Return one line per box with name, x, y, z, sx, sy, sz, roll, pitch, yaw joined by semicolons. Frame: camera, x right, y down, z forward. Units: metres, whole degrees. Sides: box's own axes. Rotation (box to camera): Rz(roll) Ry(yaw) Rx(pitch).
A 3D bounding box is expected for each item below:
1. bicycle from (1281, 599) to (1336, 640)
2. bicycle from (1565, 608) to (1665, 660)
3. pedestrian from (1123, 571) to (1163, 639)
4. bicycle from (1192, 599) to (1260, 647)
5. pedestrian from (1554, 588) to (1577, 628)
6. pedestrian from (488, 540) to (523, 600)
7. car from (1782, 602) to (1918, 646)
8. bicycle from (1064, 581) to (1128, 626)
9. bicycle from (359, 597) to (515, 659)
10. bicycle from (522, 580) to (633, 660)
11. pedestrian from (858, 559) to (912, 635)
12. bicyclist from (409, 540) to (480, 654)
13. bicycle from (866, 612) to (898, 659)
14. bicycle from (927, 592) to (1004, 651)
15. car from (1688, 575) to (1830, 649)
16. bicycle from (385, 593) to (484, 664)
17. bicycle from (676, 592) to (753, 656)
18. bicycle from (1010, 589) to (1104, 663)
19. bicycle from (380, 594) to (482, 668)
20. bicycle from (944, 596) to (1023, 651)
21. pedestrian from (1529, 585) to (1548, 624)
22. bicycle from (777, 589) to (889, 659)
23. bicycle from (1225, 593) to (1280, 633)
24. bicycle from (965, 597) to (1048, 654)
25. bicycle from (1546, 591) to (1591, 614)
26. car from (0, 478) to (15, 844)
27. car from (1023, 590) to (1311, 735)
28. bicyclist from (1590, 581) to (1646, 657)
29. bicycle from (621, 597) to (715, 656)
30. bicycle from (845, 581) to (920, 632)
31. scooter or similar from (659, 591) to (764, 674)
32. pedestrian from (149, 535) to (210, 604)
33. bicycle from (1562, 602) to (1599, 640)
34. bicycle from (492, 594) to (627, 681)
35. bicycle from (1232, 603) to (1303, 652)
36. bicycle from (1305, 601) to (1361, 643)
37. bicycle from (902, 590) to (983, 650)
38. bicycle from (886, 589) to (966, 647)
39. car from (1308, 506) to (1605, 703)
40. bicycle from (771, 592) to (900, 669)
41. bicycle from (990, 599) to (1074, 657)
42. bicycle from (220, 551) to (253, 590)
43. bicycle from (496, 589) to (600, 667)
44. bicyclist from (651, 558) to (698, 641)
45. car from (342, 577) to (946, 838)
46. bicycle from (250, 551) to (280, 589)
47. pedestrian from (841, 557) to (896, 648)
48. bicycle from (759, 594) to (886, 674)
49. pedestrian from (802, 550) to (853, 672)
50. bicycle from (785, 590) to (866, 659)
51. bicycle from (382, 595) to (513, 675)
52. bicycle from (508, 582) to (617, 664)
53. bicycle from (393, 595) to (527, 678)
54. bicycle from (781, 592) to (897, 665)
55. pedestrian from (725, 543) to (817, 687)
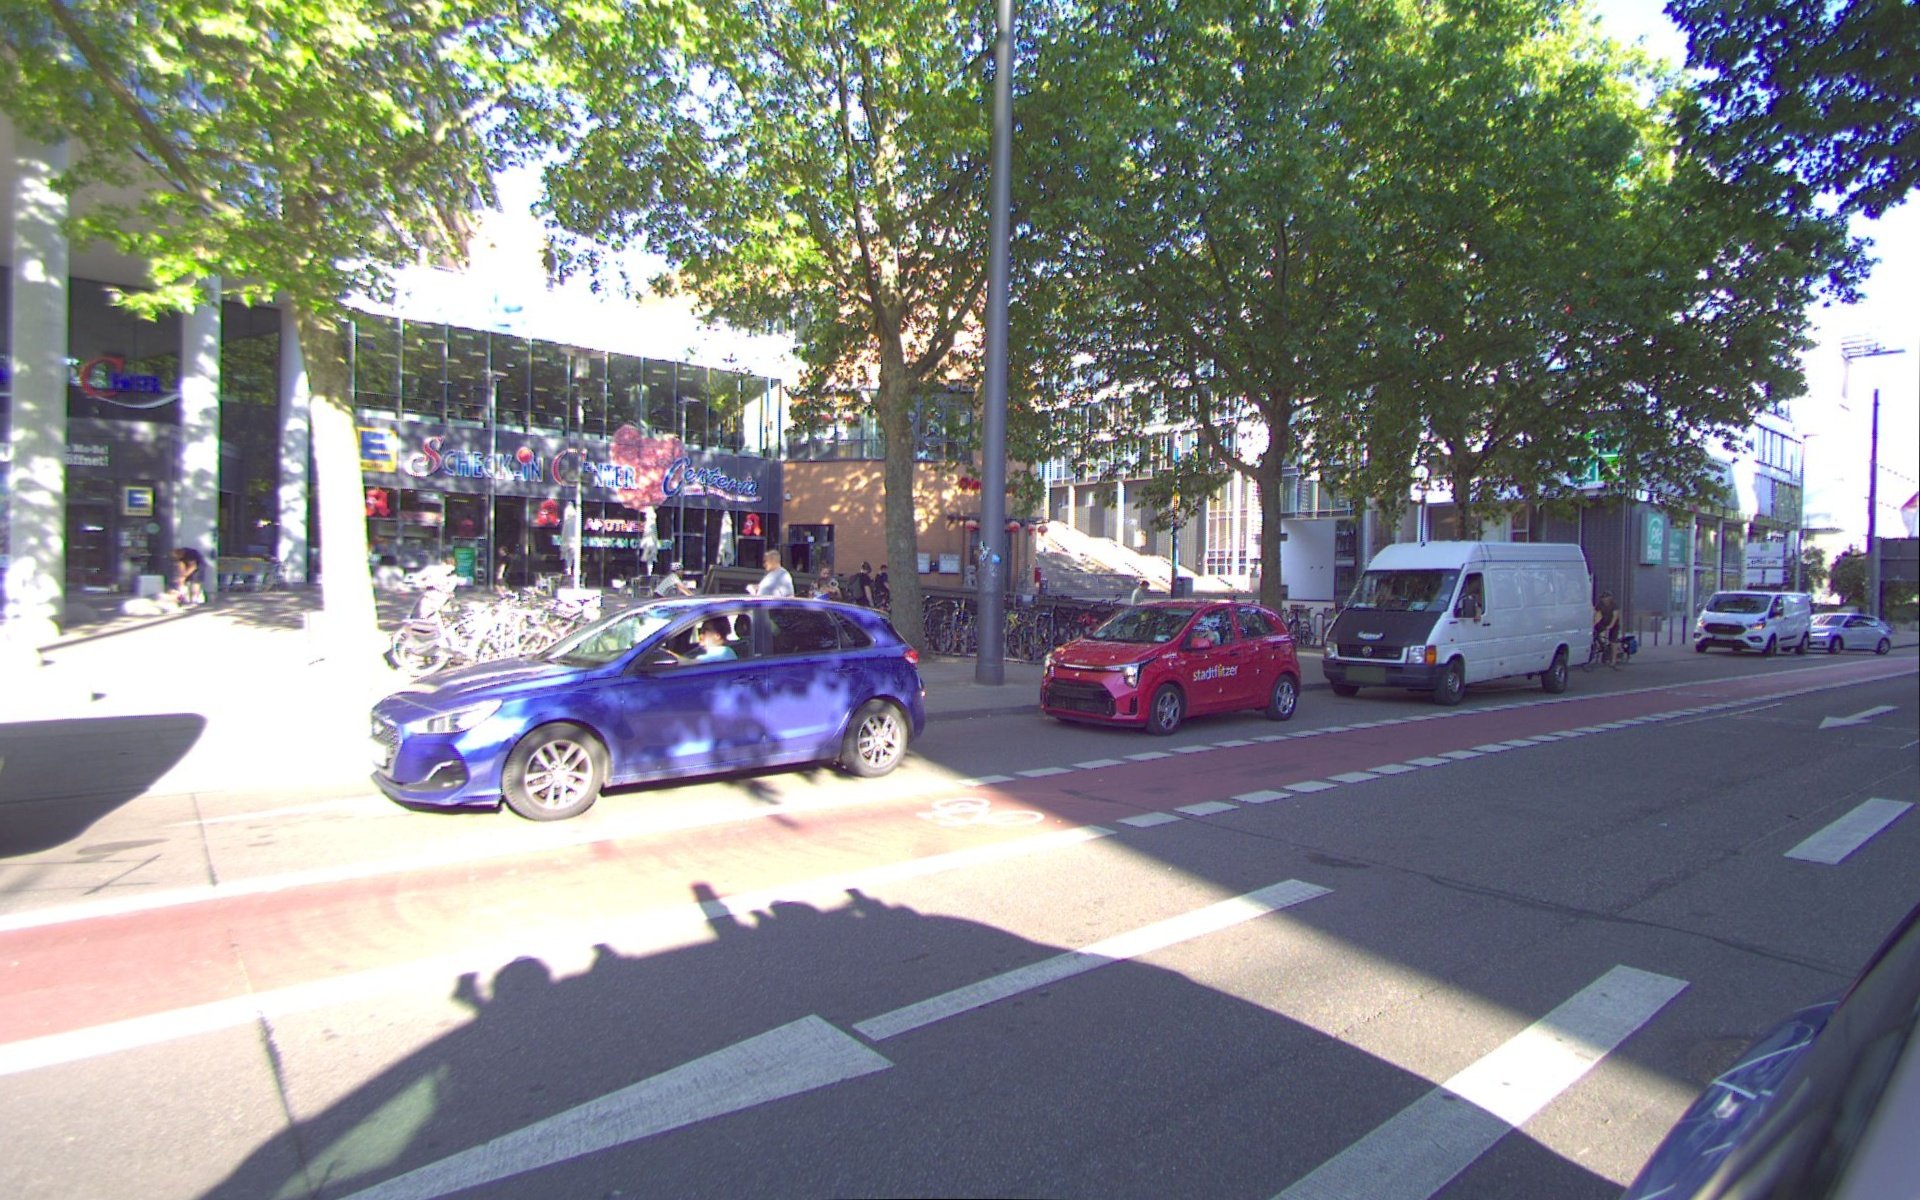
bicycle;9.404;0.523;27.302;1.624;1.060;0.597;0;1;-37
bicycle;15.108;0.788;23.360;2.083;1.135;0.552;1;1;-10
pedestrian;4.530;0.114;25.076;0.623;1.651;0.719;1;1;-34
bicycle;6.270;0.532;23.843;1.622;1.060;0.598;1;1;-32
pedestrian;23.480;0.301;39.250;0.623;1.541;0.517;1;1;-31
pedestrian;-14.474;-0.952;32.268;0.834;1.867;1.002;1;1;-15
car;31.315;0.852;35.645;3.936;1.437;1.791;1;1;-18
bicycle;3.537;0.087;26.316;1.622;1.140;0.598;1;1;-32
bicycle;-8.387;0.449;16.311;2.138;0.945;0.669;1;1;-13
bicycle;-5.551;0.276;14.729;1.451;1.095;0.421;0;1;-42
pedestrian;-1.811;-0.081;24.304;1.000;1.779;0.789;1;1;-35
bicyclist;-8.304;-0.056;16.324;0.834;1.789;0.754;1;1;-13
bicycle;-1.391;0.615;18.018;0.391;0.770;1.114;1;1;-13
bicycle;0.123;0.416;20.501;1.626;1.151;0.503;0;1;-41
car;25.478;0.347;32.204;5.189;2.160;2.130;0;1;-35
bicycle;-7.925;0.423;15.303;1.293;1.038;0.397;1;1;-24
bicycle;-4.691;0.433;19.402;0.420;1.174;1.455;2;1;41
bicycle;1.797;0.461;18.573;1.843;1.280;0.596;0;1;-41
bicycle;-7.725;0.443;14.821;1.293;1.038;0.397;1;1;-24
bicycle;0.483;0.451;20.042;1.626;1.044;0.503;0;1;-41
pedestrian;25.393;0.183;44.432;0.533;1.697;0.718;2;1;18
bicycle;-2.137;0.402;16.992;1.788;1.130;0.610;1;1;-13
bicycle;8.109;0.356;28.030;1.624;1.060;0.597;0;1;-37
bicycle;0.913;0.479;19.568;1.626;1.044;0.596;0;1;-41
bicycle;31.435;0.115;52.312;0.687;1.076;1.879;1;2;-38
car;-7.023;0.346;3.729;5.047;1.991;1.997;0;0;-41
car;2.571;0.637;12.166;3.558;1.482;1.561;0;0;-41
bicyclist;15.189;0.432;23.372;0.700;1.709;0.754;1;1;-10
bicycle;-5.909;0.529;20.503;1.741;1.140;0.569;1;1;-25
bicycle;-1.852;0.146;24.287;1.736;1.174;0.579;0;1;-35
scooter or similar;-3.705;0.475;15.066;1.249;1.156;0.905;-2;0;37
pedestrian;-19.613;-0.763;25.454;0.848;1.661;0.970;1;1;-9
bicycle;19.836;0.672;32.356;1.511;1.173;0.514;0;1;-39
bicycle;-5.250;0.470;13.306;1.542;1.070;0.630;0;1;-35
bicycle;6.921;0.609;22.790;1.622;1.060;0.598;1;1;-32
bicycle;9.845;0.570;26.685;1.624;1.060;0.597;0;1;-37
bicycle;-0.350;0.401;20.703;1.662;1.174;0.479;0;1;-37
bicycle;-0.699;0.365;21.135;1.662;1.174;0.479;0;1;-37
car;8.523;0.063;16.993;6.443;2.759;1.998;0;0;-39
bicycle;-1.929;0.471;15.610;1.908;1.130;0.598;1;1;-13
bicycle;1.370;0.506;19.049;1.626;1.044;0.596;0;1;-41
bicycle;-22.301;-0.918;31.201;0.705;1.142;1.921;1;1;-33
bicycle;-6.451;0.421;15.883;1.450;1.174;0.421;0;1;-40
bicyclist;-5.798;-0.013;20.541;0.804;1.636;0.565;1;1;-25
car;-2.267;0.609;7.901;4.143;1.482;1.768;0;2;-41
bicycle;-21.656;-0.930;31.552;0.705;1.142;1.921;1;1;-33
pedestrian;-1.846;0.039;20.356;0.756;1.779;0.820;1;1;-35
bicycle;-2.028;0.500;14.898;1.788;1.130;0.598;1;1;-13
pedestrian;-2.040;0.161;15.487;0.644;1.808;0.810;1;1;-14
bicycle;-2.384;0.420;18.046;0.478;1.174;1.455;2;1;41
bicycle;-7.044;0.453;13.959;1.546;1.038;0.461;0;1;-44
bicycle;-5.936;0.331;15.158;1.451;1.174;0.421;0;1;-42
bicycle;-6.689;0.464;13.594;1.546;1.038;0.461;0;1;-44
bicycle;-1.960;0.461;16.365;1.788;1.130;0.598;1;1;-13
pedestrian;-2.474;0.173;13.260;0.872;1.808;0.796;2;1;43
